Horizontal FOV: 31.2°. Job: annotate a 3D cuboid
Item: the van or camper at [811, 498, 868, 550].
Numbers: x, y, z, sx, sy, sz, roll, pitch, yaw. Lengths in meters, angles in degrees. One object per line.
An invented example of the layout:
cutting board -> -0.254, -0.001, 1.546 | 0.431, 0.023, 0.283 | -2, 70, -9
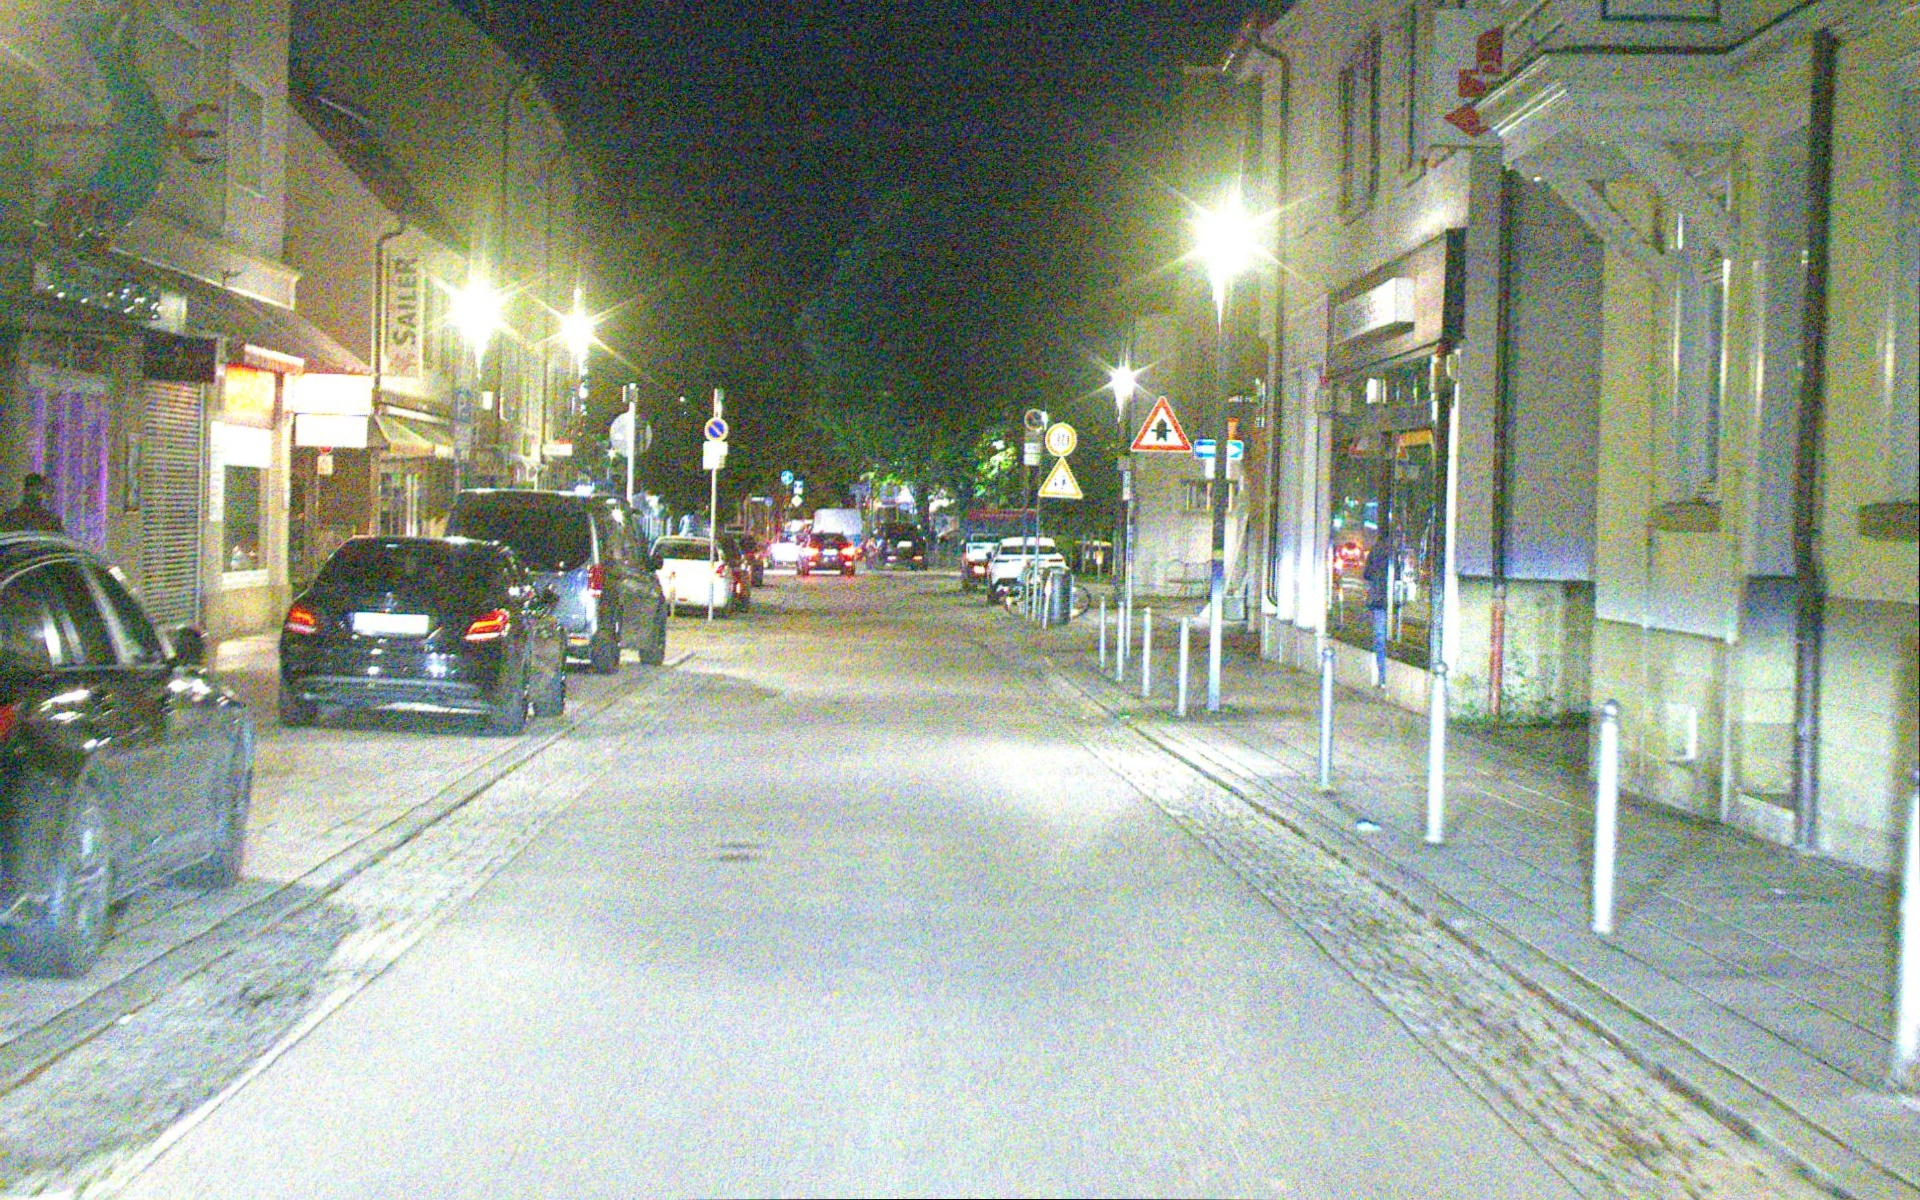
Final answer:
van or camper -> -5.477, -3.465, 155.429 | 2.108, 2.309, 4.263 | -1, 2, -8

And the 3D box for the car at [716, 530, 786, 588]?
car -> -6.021, -1.200, 98.598 | 1.673, 1.538, 4.232 | 2, 1, -7

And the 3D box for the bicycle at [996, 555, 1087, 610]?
bicycle -> 1.587, -0.340, 66.973 | 1.754, 1.058, 0.346 | 0, 1, -4

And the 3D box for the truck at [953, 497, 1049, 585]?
truck -> 1.078, -1.647, 94.129 | 2.336, 2.304, 5.781 | 0, 2, -2

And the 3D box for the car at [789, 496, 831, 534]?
car -> -7.635, -4.310, 174.439 | 1.839, 1.894, 3.846 | 1, 1, -7

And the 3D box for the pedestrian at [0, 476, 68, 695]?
pedestrian -> -7.697, -0.132, 27.919 | 0.621, 1.739, 1.023 | 2, 1, -1

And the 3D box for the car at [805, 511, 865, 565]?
car -> -4.341, -2.169, 119.125 | 1.993, 1.817, 4.001 | 1, 1, -3

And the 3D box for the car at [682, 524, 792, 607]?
car -> -4.518, -0.735, 70.191 | 2.019, 1.483, 5.008 | 4, 1, -2

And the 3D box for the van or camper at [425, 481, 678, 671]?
van or camper -> -4.495, -0.304, 38.607 | 1.846, 1.935, 5.153 | 2, 1, 4

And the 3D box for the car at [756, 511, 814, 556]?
car -> -6.850, -2.600, 134.010 | 1.993, 1.697, 4.001 | 1, 1, -6

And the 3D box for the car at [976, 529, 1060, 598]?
car -> 1.304, -0.855, 78.572 | 1.789, 1.486, 4.059 | -1, 1, -1

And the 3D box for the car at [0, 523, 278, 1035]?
car -> -3.727, 0.465, 12.294 | 1.797, 1.473, 4.322 | 3, 1, -2

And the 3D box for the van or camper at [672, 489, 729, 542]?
van or camper -> -10.287, -3.347, 136.059 | 1.866, 2.004, 4.263 | 2, 1, -8

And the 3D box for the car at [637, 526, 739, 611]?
car -> -5.105, -0.615, 64.860 | 1.728, 1.471, 3.847 | 2, 1, -2

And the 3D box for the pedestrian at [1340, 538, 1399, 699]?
pedestrian -> 3.994, 0.175, 33.526 | 0.501, 1.542, 0.480 | 2, 1, 5

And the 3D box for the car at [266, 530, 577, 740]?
car -> -4.061, 0.202, 26.566 | 1.716, 1.408, 4.386 | 2, 1, -1

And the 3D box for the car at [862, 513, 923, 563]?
car -> -2.567, -2.341, 129.456 | 1.814, 1.822, 4.348 | 0, 1, -7
